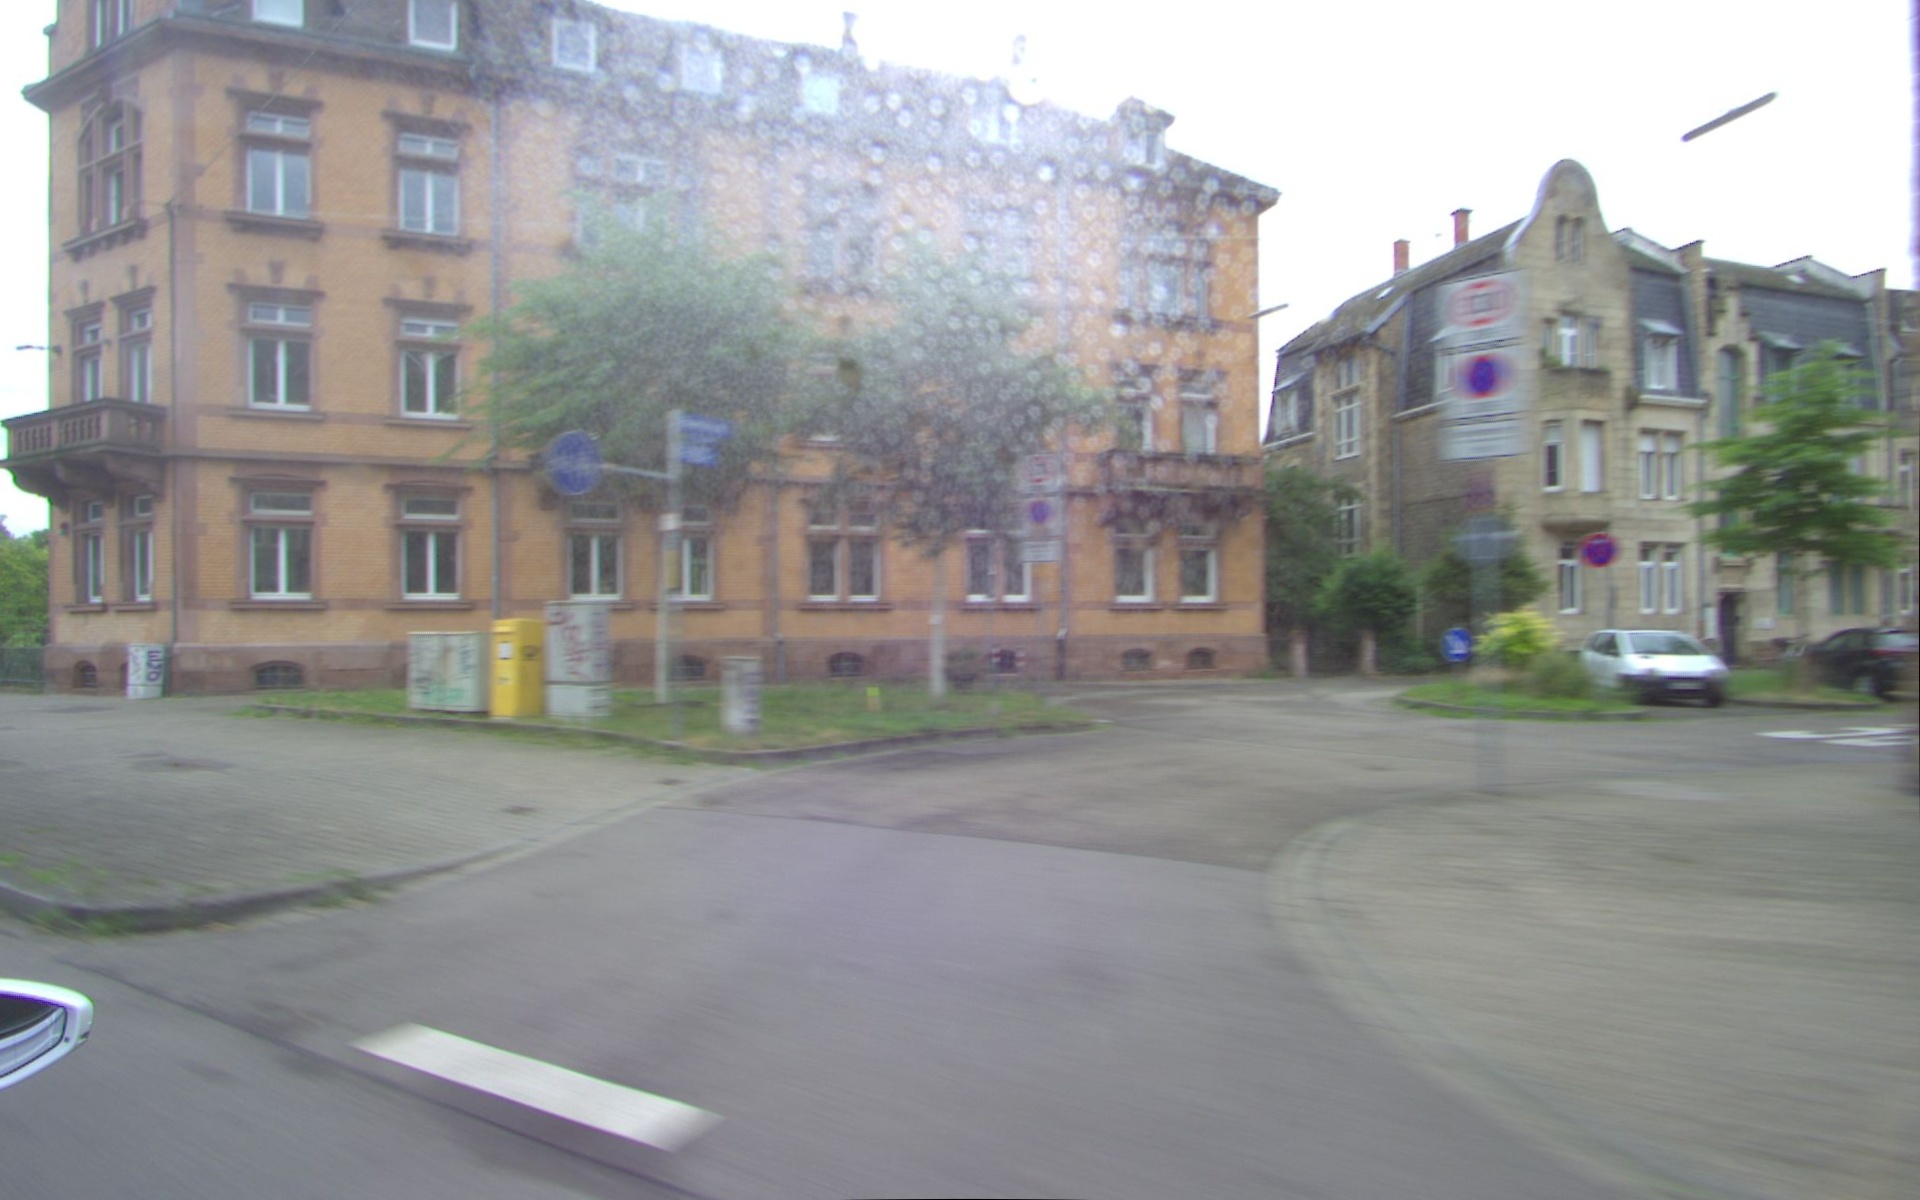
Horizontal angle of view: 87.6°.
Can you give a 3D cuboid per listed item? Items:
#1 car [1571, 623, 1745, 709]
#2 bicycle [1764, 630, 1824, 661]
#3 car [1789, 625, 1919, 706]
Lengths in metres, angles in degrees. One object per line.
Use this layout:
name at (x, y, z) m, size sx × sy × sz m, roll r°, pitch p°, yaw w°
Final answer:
car at (13.639, 1.231, 19.798) m, size 1.676 × 1.453 × 3.538 m, roll 0°, pitch 0°, yaw 15°
bicycle at (27.371, 1.482, 32.857) m, size 1.746 × 1.016 × 0.568 m, roll 0°, pitch -1°, yaw -13°
car at (19.081, 1.296, 20.765) m, size 1.677 × 1.453 × 3.536 m, roll 0°, pitch 0°, yaw 17°
